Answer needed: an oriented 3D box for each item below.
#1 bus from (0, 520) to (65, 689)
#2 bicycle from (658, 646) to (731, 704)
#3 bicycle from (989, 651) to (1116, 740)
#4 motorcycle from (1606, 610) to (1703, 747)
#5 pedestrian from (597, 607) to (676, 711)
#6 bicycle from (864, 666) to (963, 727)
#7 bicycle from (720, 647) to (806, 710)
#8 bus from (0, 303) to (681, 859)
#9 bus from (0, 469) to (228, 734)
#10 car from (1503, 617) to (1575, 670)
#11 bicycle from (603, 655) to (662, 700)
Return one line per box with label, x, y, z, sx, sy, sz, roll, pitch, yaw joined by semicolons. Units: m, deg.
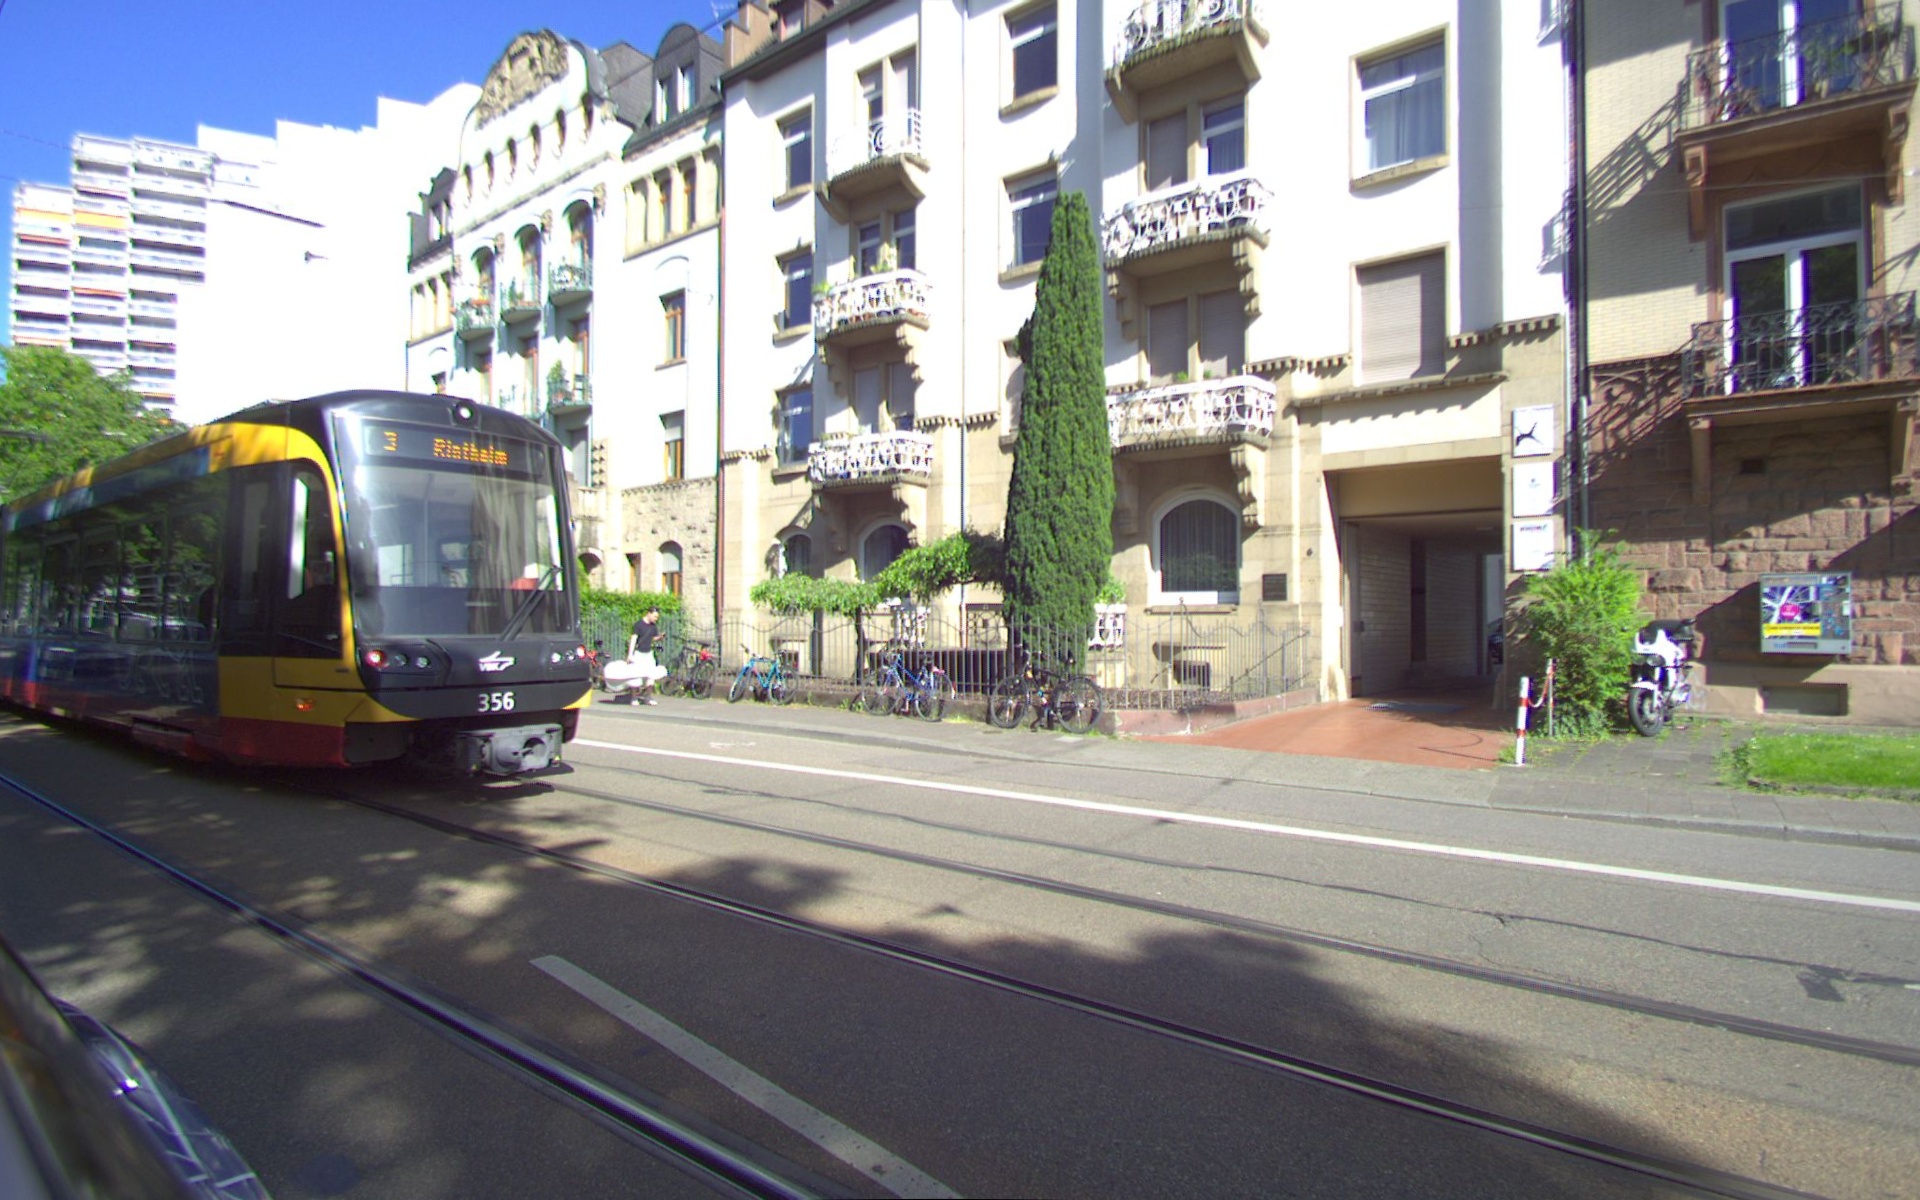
bus;-26.297;0.133;26.128;11.483;3.805;2.832;0;0;38
bicycle;-4.738;1.310;17.993;1.648;0.949;0.400;-1;-1;41
bicycle;1.193;1.224;13.332;1.748;1.047;0.400;-1;-1;41
motorcycle;8.584;0.861;12.443;0.822;1.467;3.055;-1;0;37
pedestrian;-5.451;0.963;17.053;0.870;1.640;0.858;-1;3;40
bicycle;-0.689;1.368;14.559;1.651;0.767;0.314;-1;-1;41
bicycle;-3.294;1.276;16.830;1.748;0.949;0.400;-1;-1;41
bus;-8.157;-0.093;11.836;12.181;3.805;2.822;0;0;38
bus;-17.356;0.054;19.105;11.169;3.805;2.832;0;0;38
car;19.609;1.409;34.385;1.991;1.619;3.961;0;0;29
bicycle;-6.180;1.450;19.052;1.542;0.767;0.314;-1;-1;41
